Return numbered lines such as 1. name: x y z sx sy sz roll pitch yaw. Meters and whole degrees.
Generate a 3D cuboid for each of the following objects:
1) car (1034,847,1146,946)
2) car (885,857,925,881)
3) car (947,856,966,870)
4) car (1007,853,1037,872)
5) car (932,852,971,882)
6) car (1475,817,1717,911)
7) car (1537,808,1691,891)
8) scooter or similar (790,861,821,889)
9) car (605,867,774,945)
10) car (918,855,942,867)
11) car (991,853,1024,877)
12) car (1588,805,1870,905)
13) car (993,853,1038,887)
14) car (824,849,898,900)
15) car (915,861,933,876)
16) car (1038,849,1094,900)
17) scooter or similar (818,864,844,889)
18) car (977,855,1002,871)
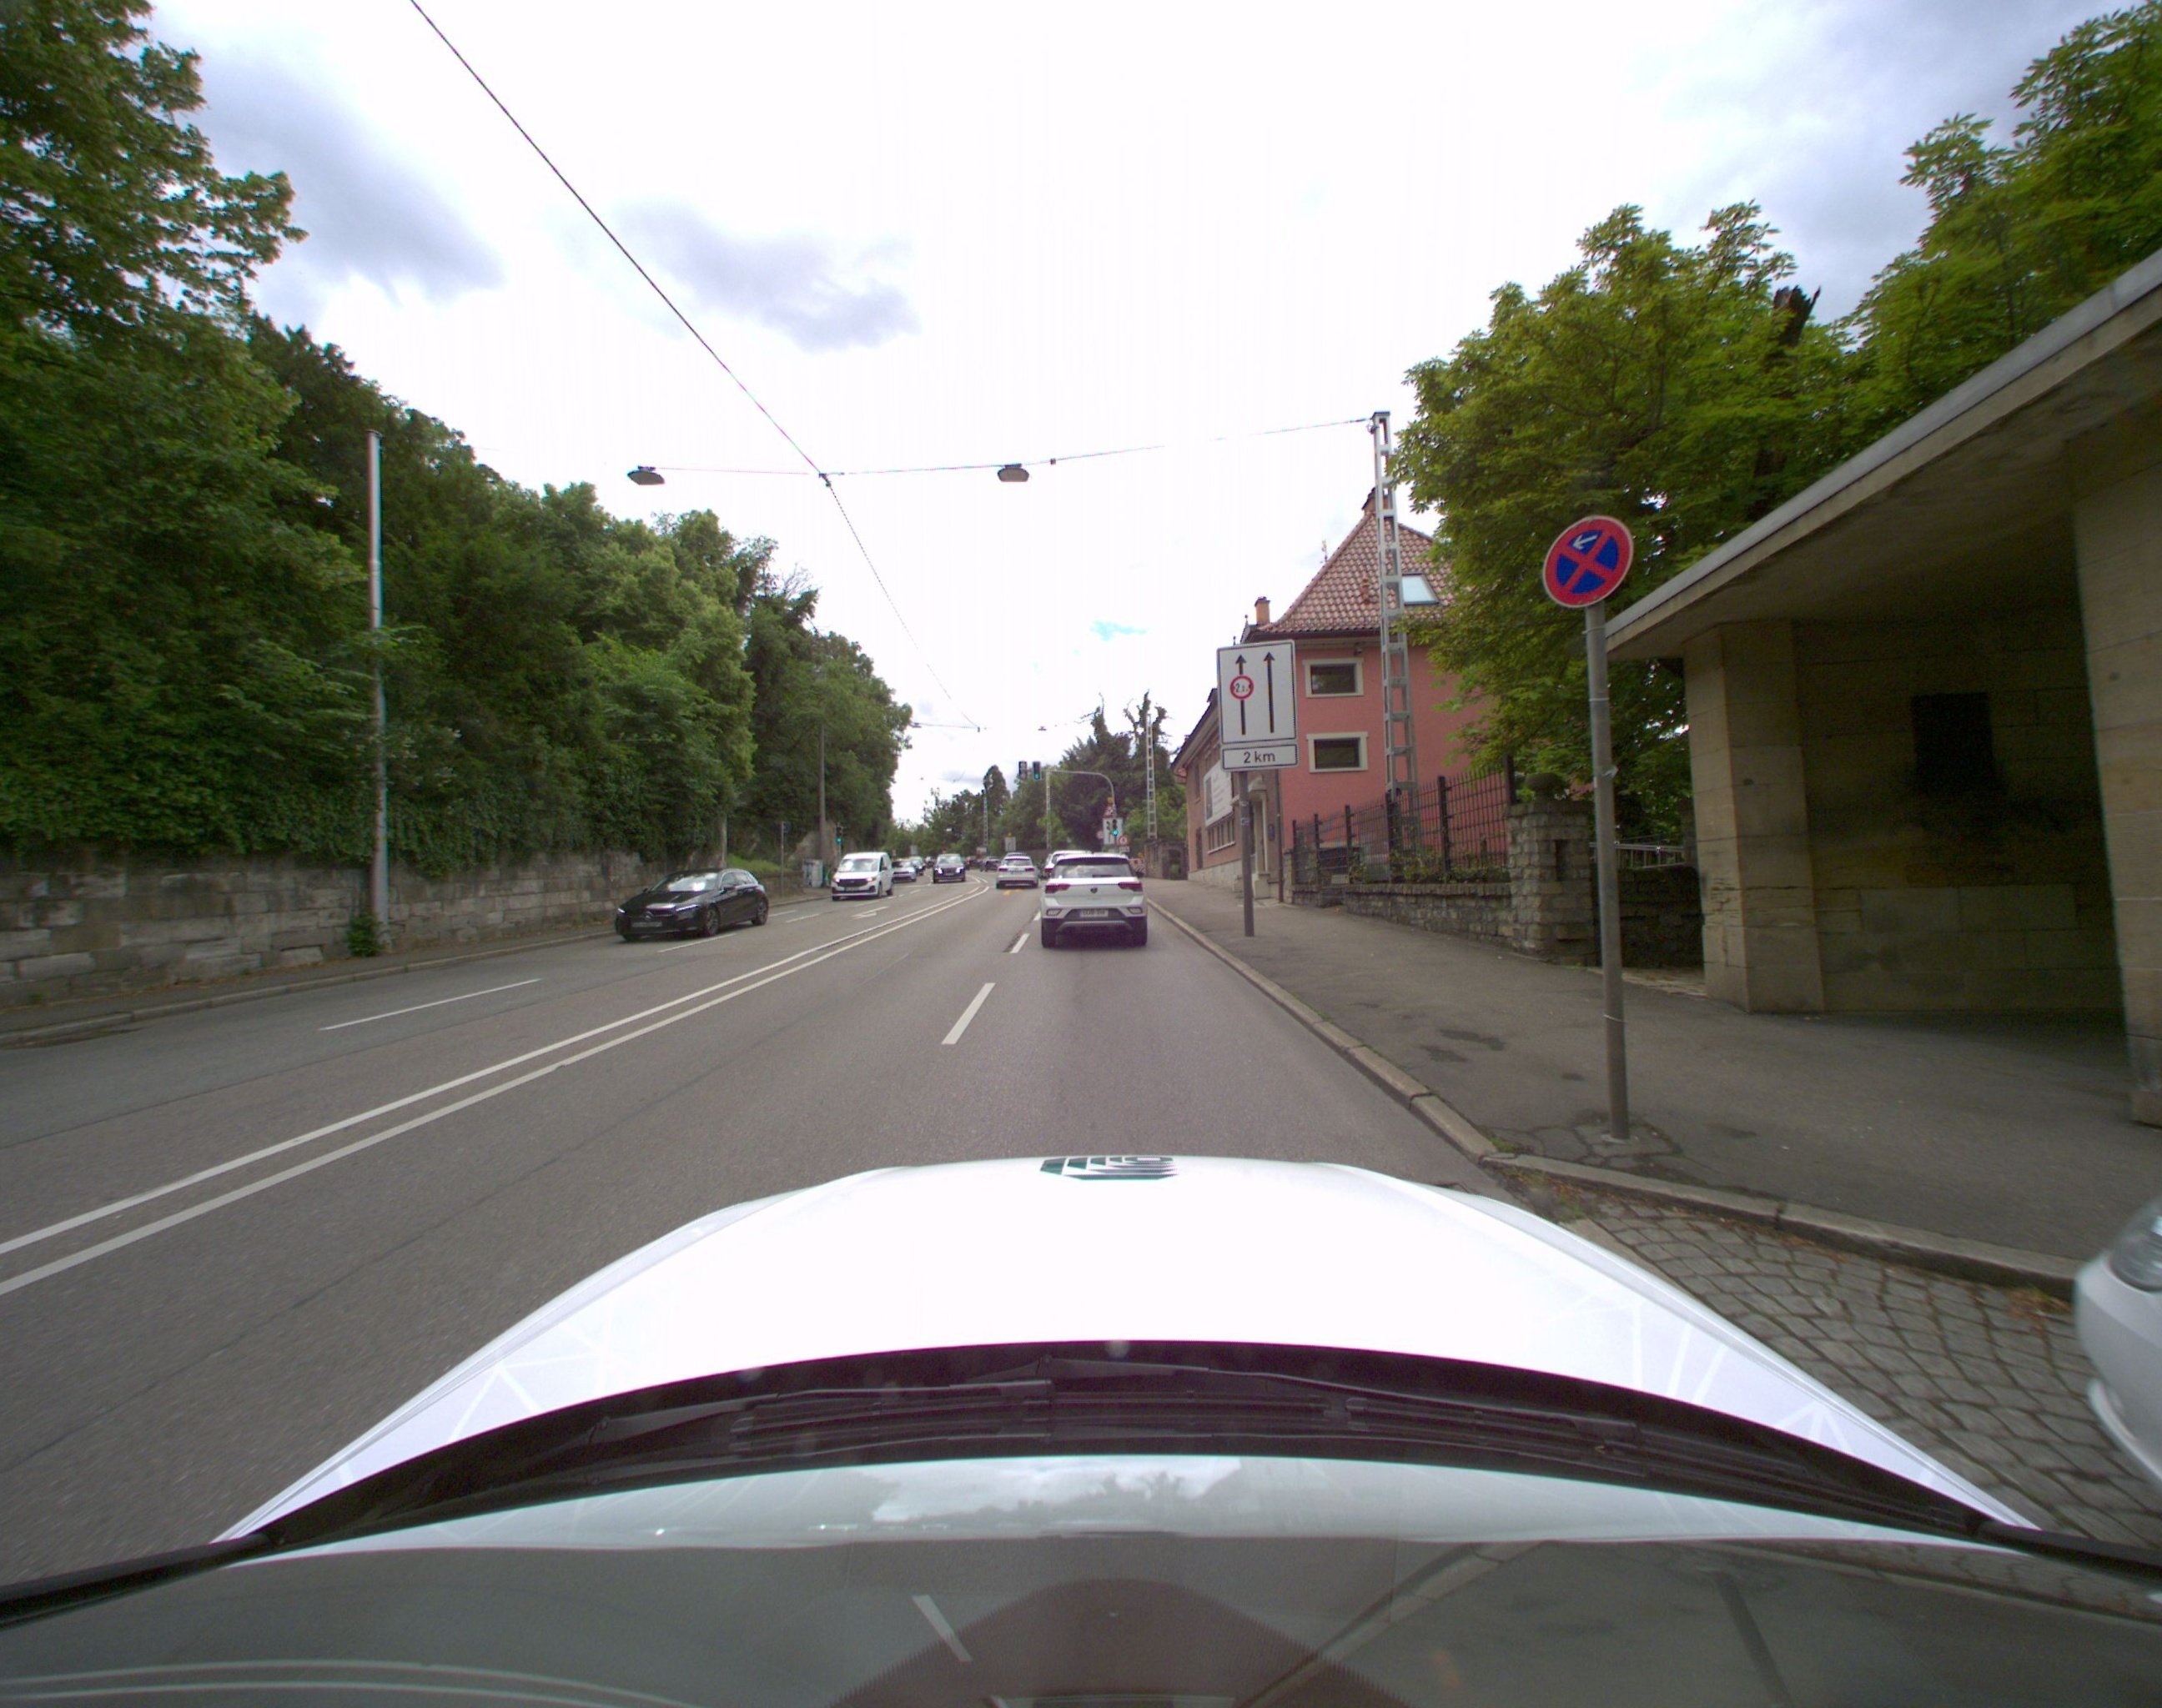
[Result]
1. car: 0.154 0.696 14.713 1.752 1.556 3.795 0 -1 0
2. car: -11.380 0.966 52.902 1.711 1.403 4.021 -3 0 -2
3. car: -13.556 0.946 88.782 1.782 1.454 3.982 -1 -1 -13
4. car: -4.818 0.750 66.377 1.994 1.450 4.135 -1 -1 -10
5. car: -7.576 0.739 48.038 1.845 1.632 4.355 -1 0 -4
6. car: 9.057 0.141 14.800 1.985 1.422 4.003 -2 0 2
7. car: 11.771 -0.038 18.228 1.430 1.683 3.146 0 -2 2
8. scooter or similar: -13.652 1.051 40.374 0.429 1.238 1.358 2 -5 34
9. car: -8.387 1.036 17.918 1.557 1.402 4.253 -3 0 1
10. car: -20.607 0.999 110.838 2.005 1.575 4.112 -1 -1 -28
11. car: -4.931 0.729 55.130 1.989 1.556 4.146 0 0 -3
12. car: 11.298 -0.002 14.641 1.985 1.507 4.003 -2 0 2
13. car: -3.055 0.740 37.506 1.758 1.471 3.782 0 -1 -10
14. car: -8.619 0.784 32.331 1.888 1.848 4.391 2 -1 -3
15. car: -17.535 1.599 90.948 1.757 1.566 3.661 -1 0 -15
16. car: -0.438 0.675 27.500 1.752 1.609 3.795 0 -1 0
17. scooter or similar: -12.754 1.169 41.561 0.429 1.237 1.105 2 -2 41
18. car: -8.878 0.881 78.965 1.995 1.450 4.133 -1 -1 -12
